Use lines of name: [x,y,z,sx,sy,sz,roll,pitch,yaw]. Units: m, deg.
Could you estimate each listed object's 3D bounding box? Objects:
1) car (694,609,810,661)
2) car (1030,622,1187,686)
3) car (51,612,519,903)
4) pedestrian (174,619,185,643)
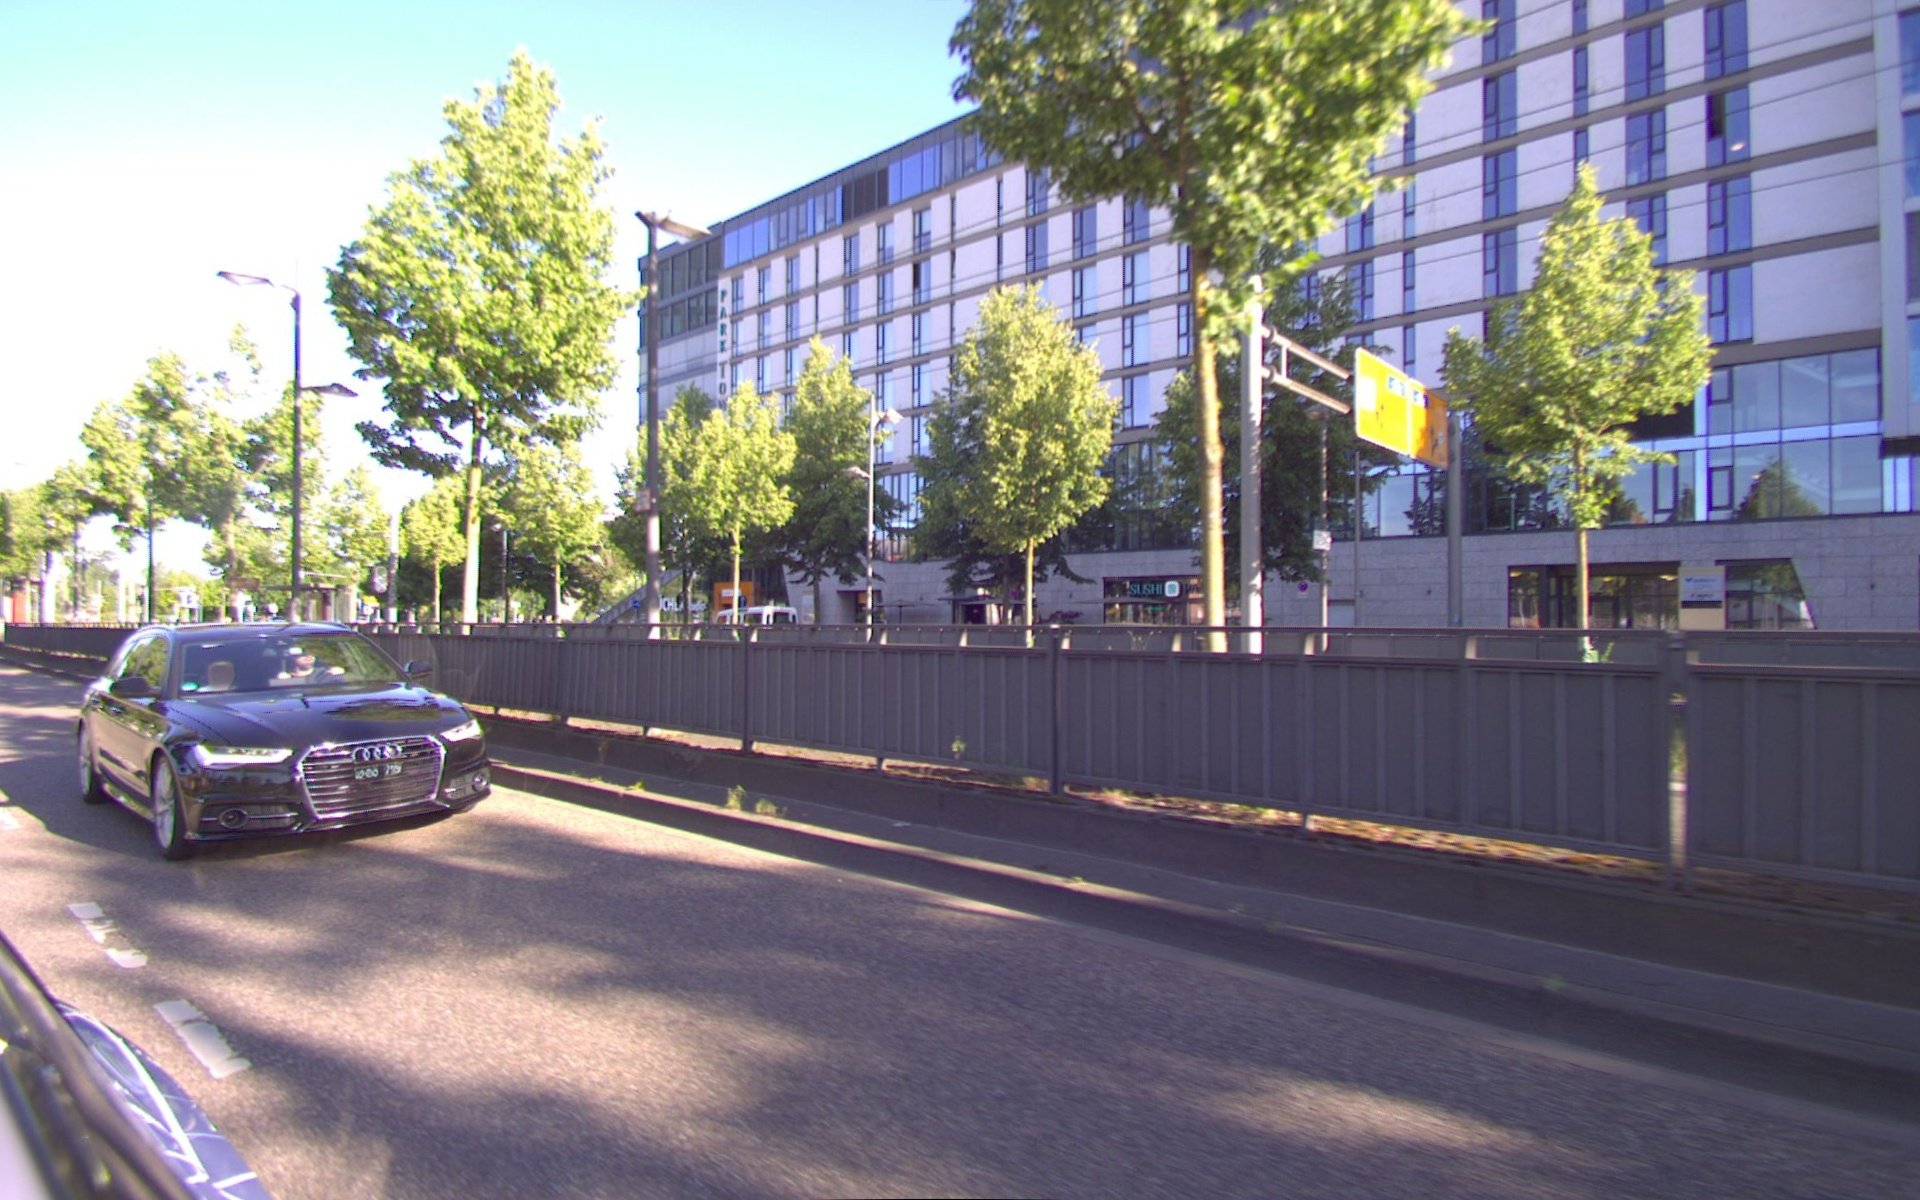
car: [-7.564,1.247,36.592,4.226,1.763,1.972,-1,-2,41]
car: [3.750,1.335,25.893,3.699,1.532,1.661,-1,-2,41]
car: [-5.266,0.882,7.604,4.598,1.538,1.766,-1,-1,41]
pedestrian: [-53.365,2.092,69.202,0.810,1.590,0.413,1,0,39]
